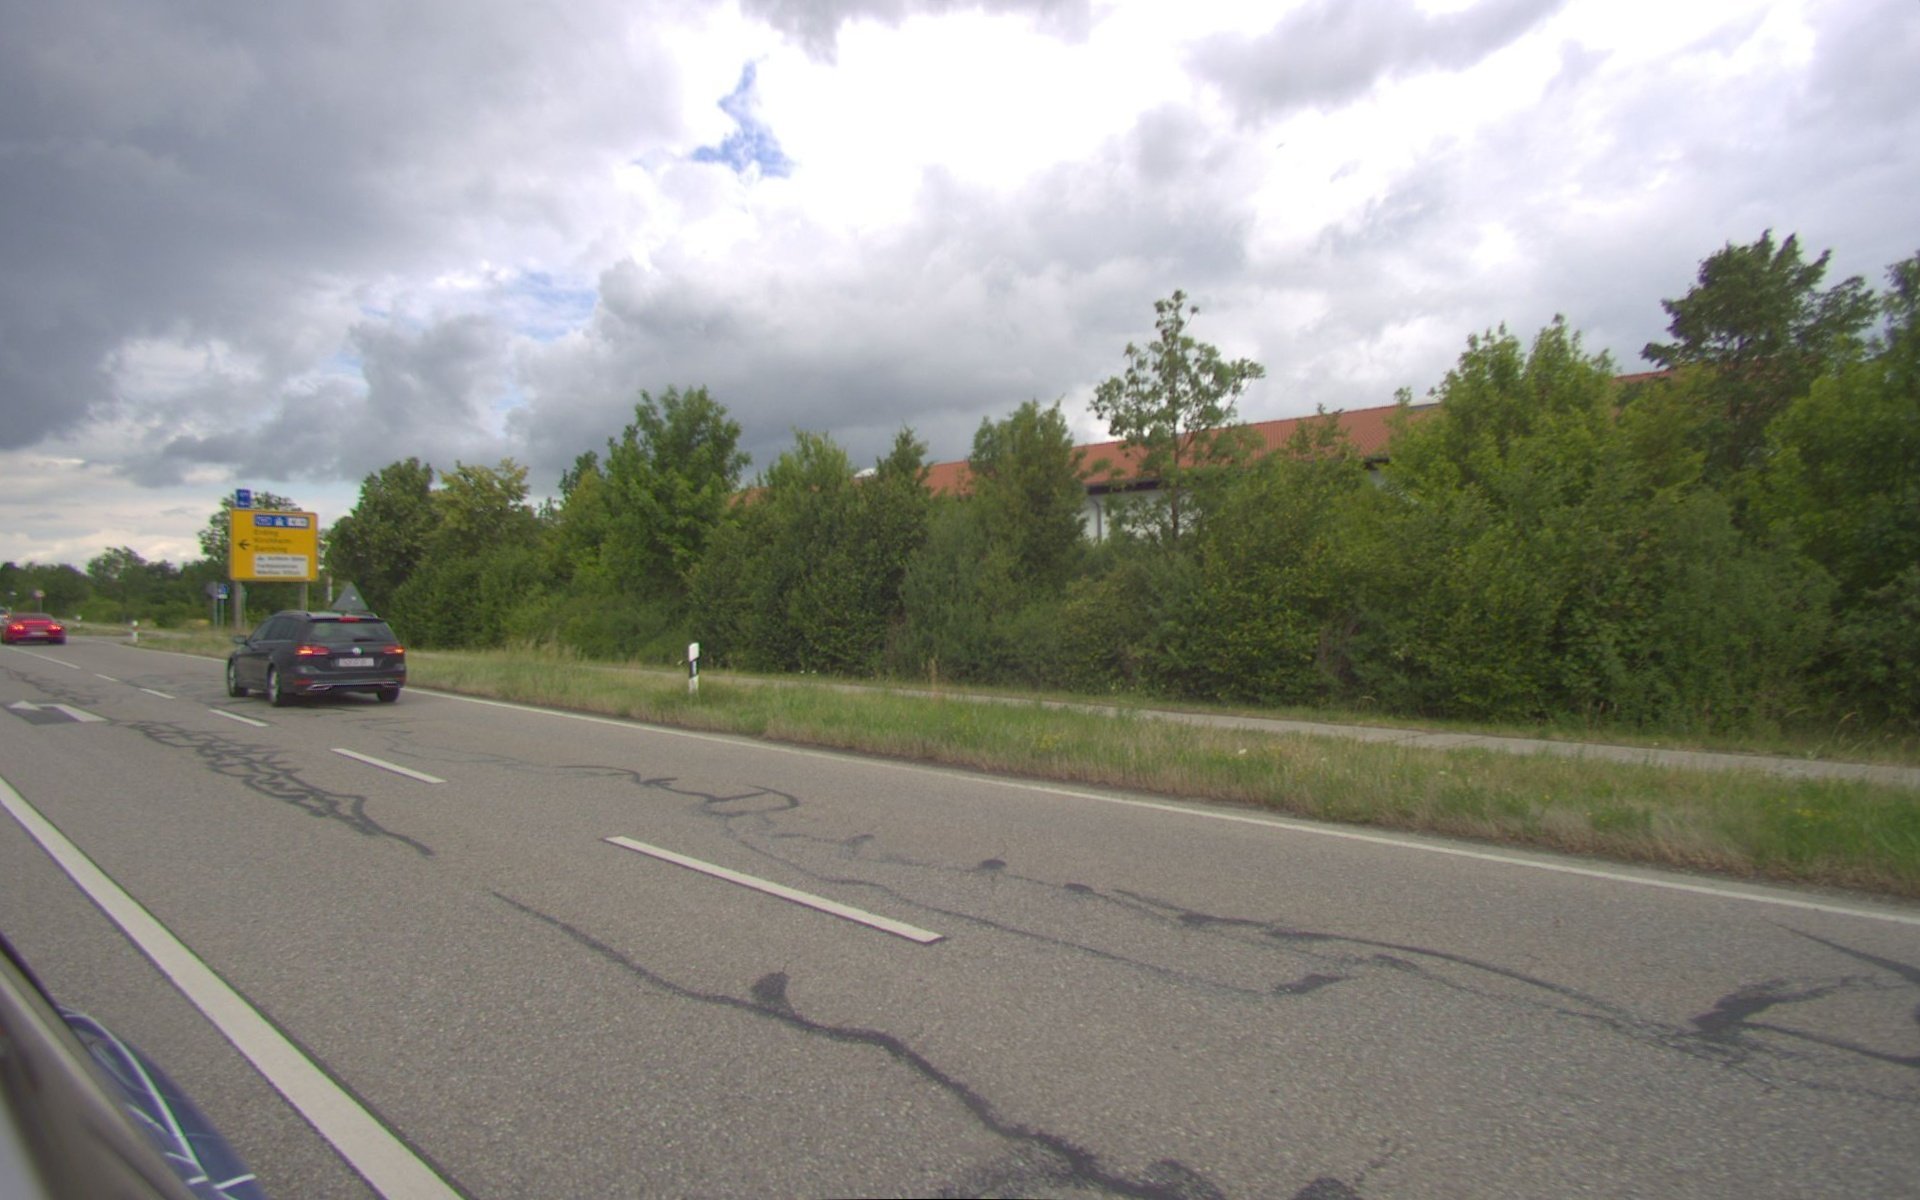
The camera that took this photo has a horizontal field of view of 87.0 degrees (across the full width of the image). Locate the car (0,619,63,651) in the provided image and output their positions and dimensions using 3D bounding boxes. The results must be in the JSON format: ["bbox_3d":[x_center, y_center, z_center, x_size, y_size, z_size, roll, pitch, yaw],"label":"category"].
[{"bbox_3d":[-38.642,1.407,41.957,4.211,1.250,1.752,-1,-2,43],"label":"car"}]

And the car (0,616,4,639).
[{"bbox_3d":[-60.806,1.709,62.890,3.933,1.442,1.711,-1,-2,42],"label":"car"}]

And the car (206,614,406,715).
[{"bbox_3d":[-10.755,0.975,16.524,4.302,1.440,1.651,-1,-2,42],"label":"car"}]
